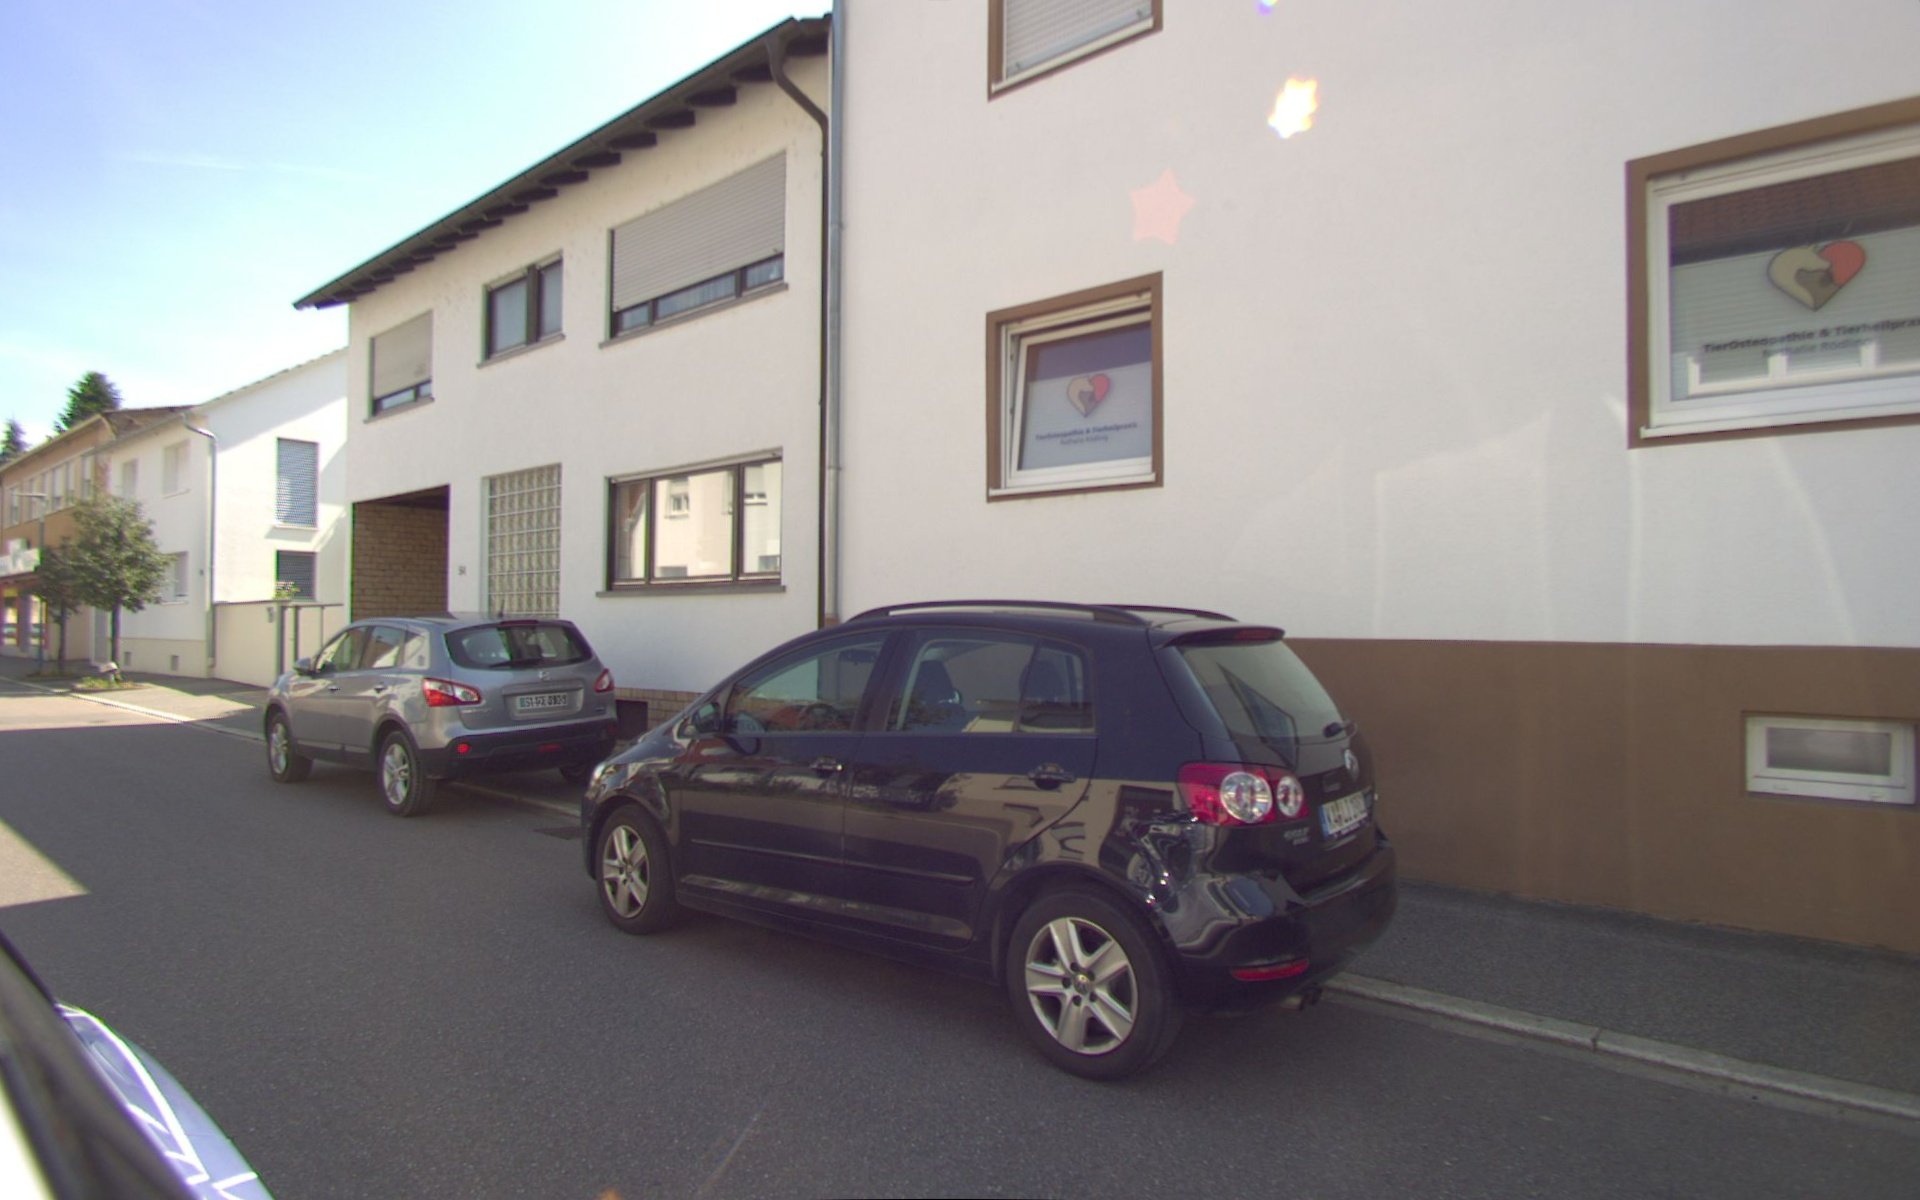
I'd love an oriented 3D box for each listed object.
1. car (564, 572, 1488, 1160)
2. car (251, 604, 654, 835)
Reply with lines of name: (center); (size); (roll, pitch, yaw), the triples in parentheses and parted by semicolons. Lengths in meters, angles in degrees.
car: (0.059, 0.761, 4.643); (3.949, 1.578, 1.731); (-1, -2, 38)
car: (-4.709, 0.893, 9.147); (4.116, 1.630, 1.736); (-1, -2, 39)
